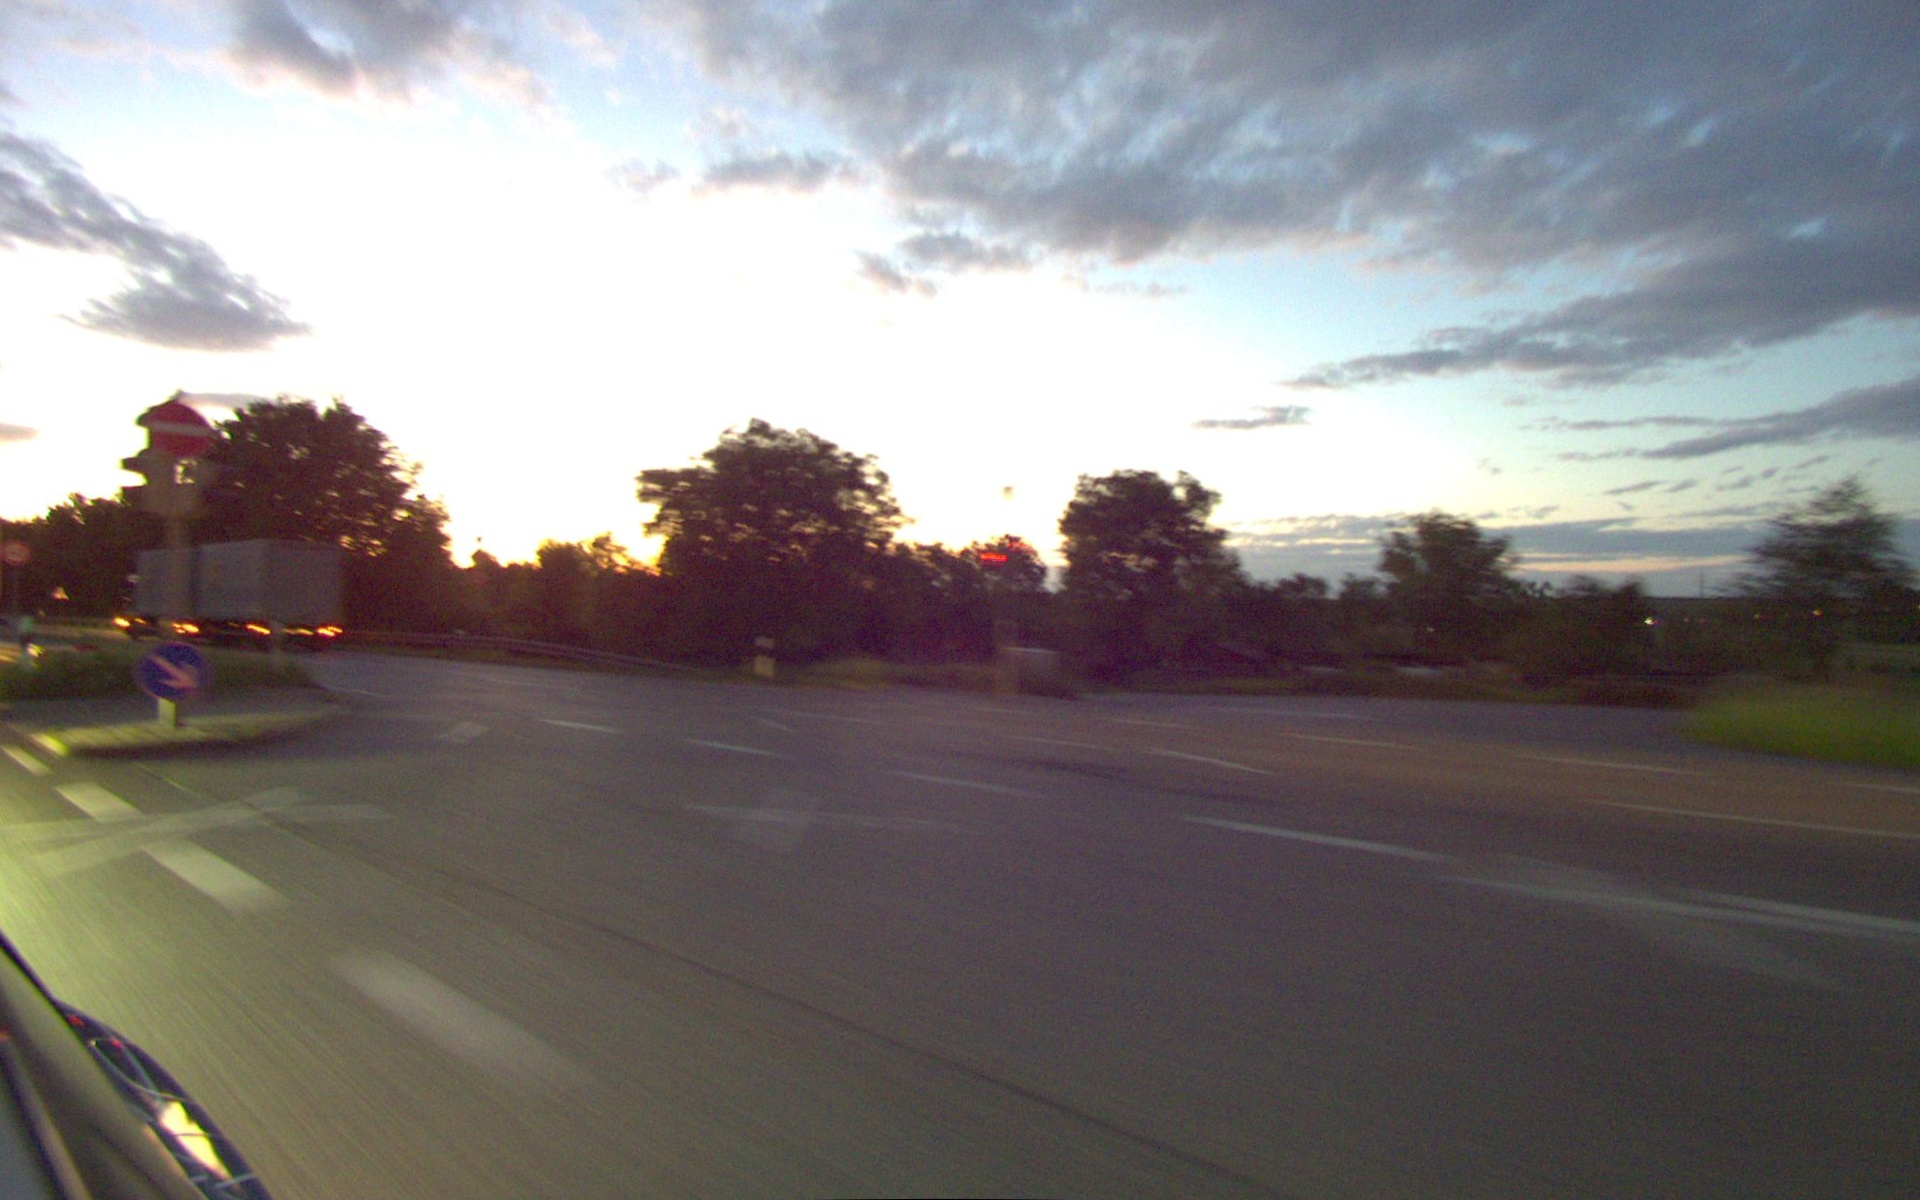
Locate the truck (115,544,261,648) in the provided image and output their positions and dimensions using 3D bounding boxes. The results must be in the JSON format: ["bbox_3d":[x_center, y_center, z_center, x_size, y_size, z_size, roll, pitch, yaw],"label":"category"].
[{"bbox_3d":[-34.457,-0.159,44.966,10.333,4.148,2.699,0,0,38],"label":"truck"}]

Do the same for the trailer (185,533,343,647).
[{"bbox_3d":[-26.889,-0.276,38.909,8.868,3.973,2.551,0,-2,39],"label":"trailer"}]
